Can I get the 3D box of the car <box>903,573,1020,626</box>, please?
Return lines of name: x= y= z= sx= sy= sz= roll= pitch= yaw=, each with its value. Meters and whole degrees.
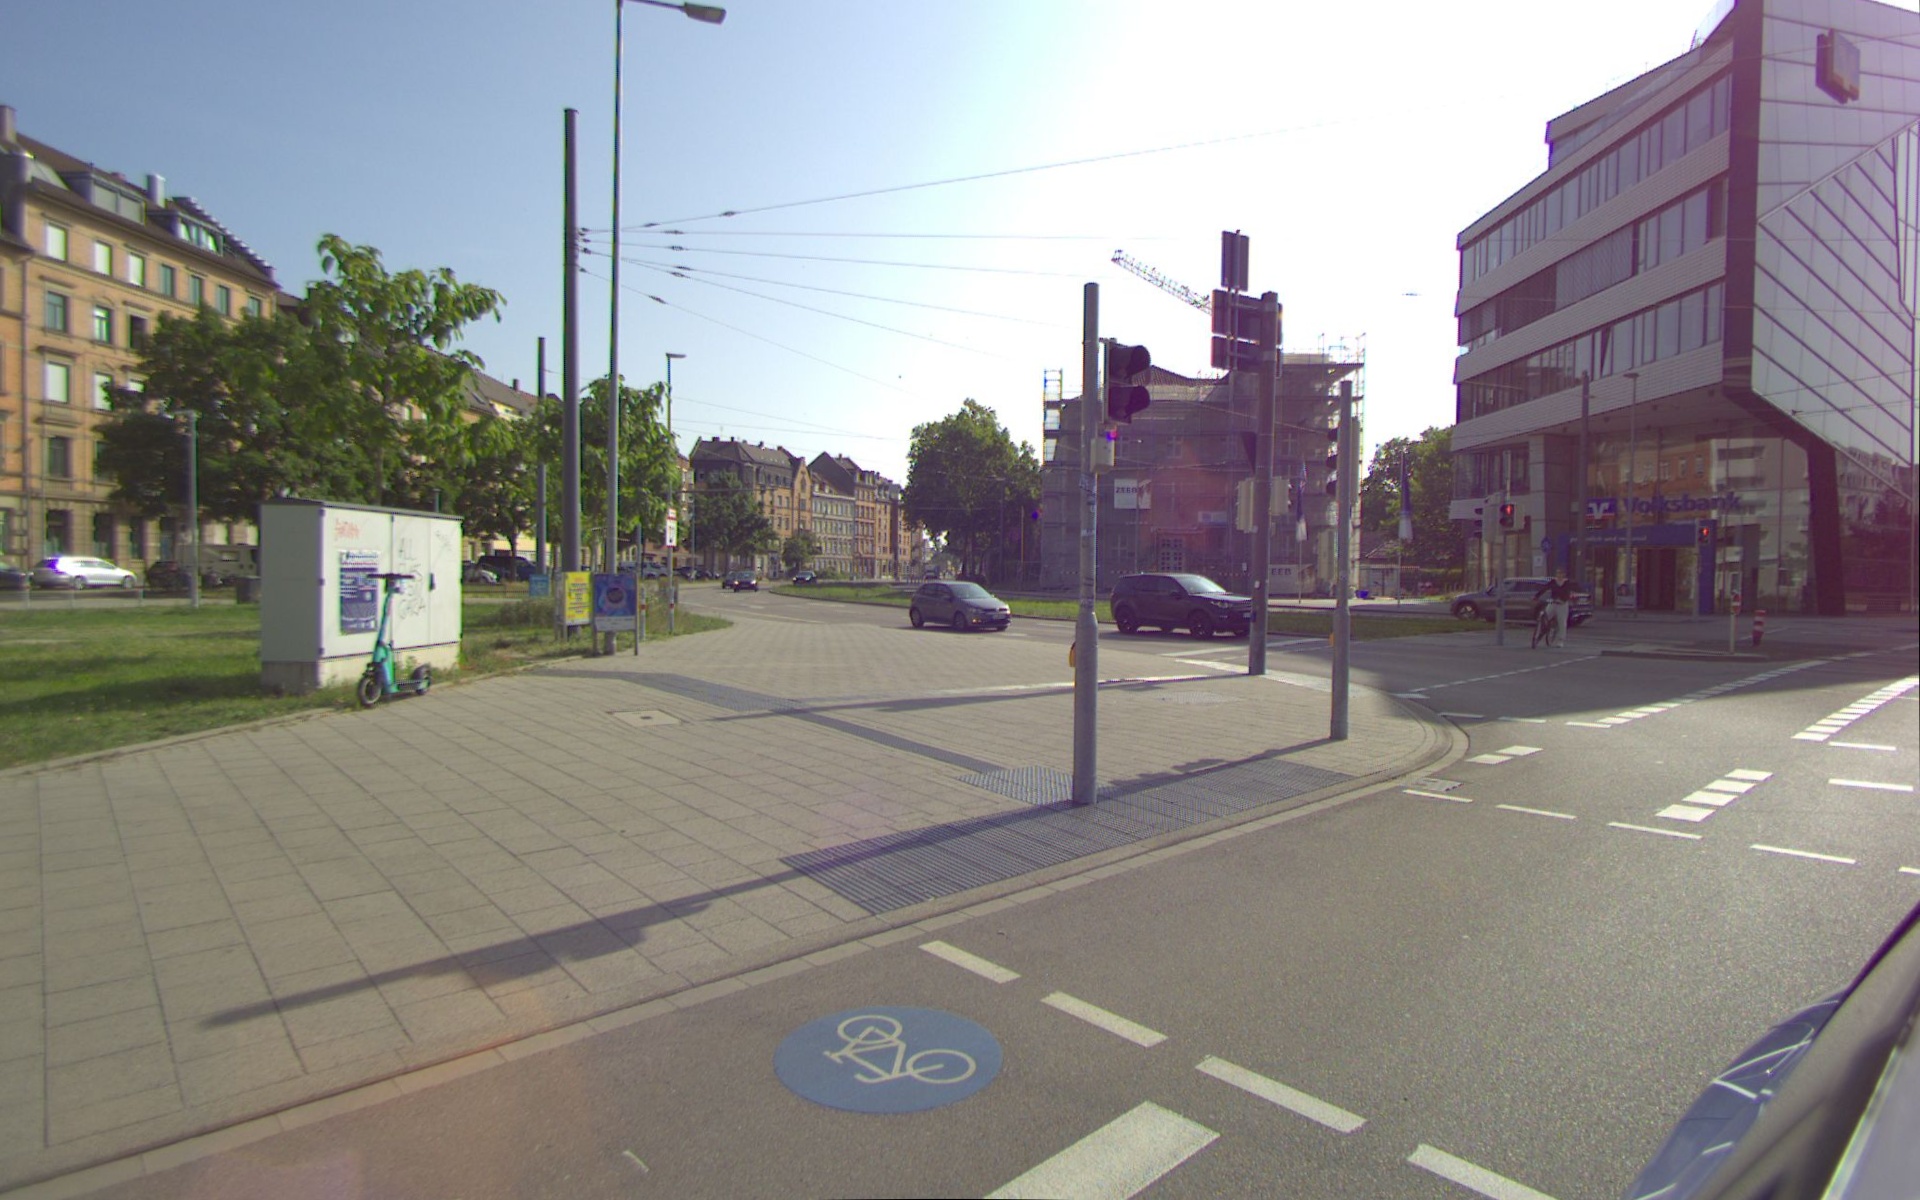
car: x=-0.010 y=-0.077 z=30.525 sx=1.613 sy=1.436 sz=3.897 roll=-1 pitch=2 yaw=-34

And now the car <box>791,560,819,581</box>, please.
car: x=-15.495 y=-2.986 z=101.518 sx=1.964 sy=2.038 sz=3.997 roll=1 pitch=2 yaw=4

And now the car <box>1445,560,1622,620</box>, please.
car: x=19.150 y=-0.404 z=34.001 sx=1.918 sy=1.805 sz=4.817 roll=-2 pitch=3 yaw=-34

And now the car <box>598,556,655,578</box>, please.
car: x=-29.886 y=-2.936 z=90.643 sx=4.640 sy=1.787 sz=1.725 roll=2 pitch=1 yaw=-24

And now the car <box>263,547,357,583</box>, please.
car: x=-32.372 y=-1.721 z=50.519 sx=3.905 sy=1.727 sz=1.882 roll=0 pitch=2 yaw=-31

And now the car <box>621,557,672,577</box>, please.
car: x=-29.460 y=-3.091 z=95.141 sx=4.332 sy=1.787 sz=1.723 roll=1 pitch=1 yaw=-32

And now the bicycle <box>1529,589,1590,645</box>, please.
bicycle: x=13.158 y=0.355 z=22.186 sx=1.775 sy=1.111 sz=0.668 roll=-3 pitch=4 yaw=-43

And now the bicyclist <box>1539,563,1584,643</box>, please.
bicyclist: x=13.222 y=0.049 z=22.244 sx=0.626 sy=1.723 sz=0.668 roll=-2 pitch=3 yaw=-43

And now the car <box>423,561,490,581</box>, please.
car: x=-32.470 y=-1.856 z=65.260 sx=3.780 sy=1.264 sz=1.723 roll=0 pitch=2 yaw=-31

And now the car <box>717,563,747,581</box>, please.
car: x=-19.844 y=-2.435 z=88.164 sx=1.961 sy=1.580 sz=3.878 roll=0 pitch=1 yaw=-3

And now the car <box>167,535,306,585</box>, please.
car: x=-33.410 y=-1.817 z=46.913 sx=4.942 sy=2.205 sz=1.884 roll=0 pitch=1 yaw=-24

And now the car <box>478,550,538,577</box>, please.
car: x=-31.854 y=-2.594 z=71.348 sx=3.778 sy=1.828 sz=1.788 roll=0 pitch=2 yaw=-29

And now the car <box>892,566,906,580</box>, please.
car: x=-9.701 y=-4.321 z=161.934 sx=1.963 sy=2.002 sz=4.001 roll=0 pitch=3 yaw=1

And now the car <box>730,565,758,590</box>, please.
car: x=-14.963 y=-1.557 z=70.244 sx=1.623 sy=1.654 sz=4.007 roll=1 pitch=2 yaw=-7

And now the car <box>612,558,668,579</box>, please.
car: x=-30.851 y=-3.025 z=97.563 sx=4.834 sy=1.861 sz=1.722 roll=1 pitch=1 yaw=-36

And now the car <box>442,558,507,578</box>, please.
car: x=-32.493 y=-2.142 z=67.708 sx=3.780 sy=1.264 sz=1.723 roll=0 pitch=2 yaw=-31

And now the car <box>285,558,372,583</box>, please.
car: x=-32.859 y=-1.544 z=52.730 sx=3.780 sy=1.264 sz=1.723 roll=0 pitch=2 yaw=-31

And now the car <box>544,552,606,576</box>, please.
car: x=-31.898 y=-2.961 z=83.862 sx=4.640 sy=1.787 sz=1.725 roll=2 pitch=1 yaw=-24

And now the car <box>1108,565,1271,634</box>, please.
car: x=6.096 y=-0.077 z=27.358 sx=1.768 sy=1.698 sz=4.223 roll=1 pitch=1 yaw=-34
